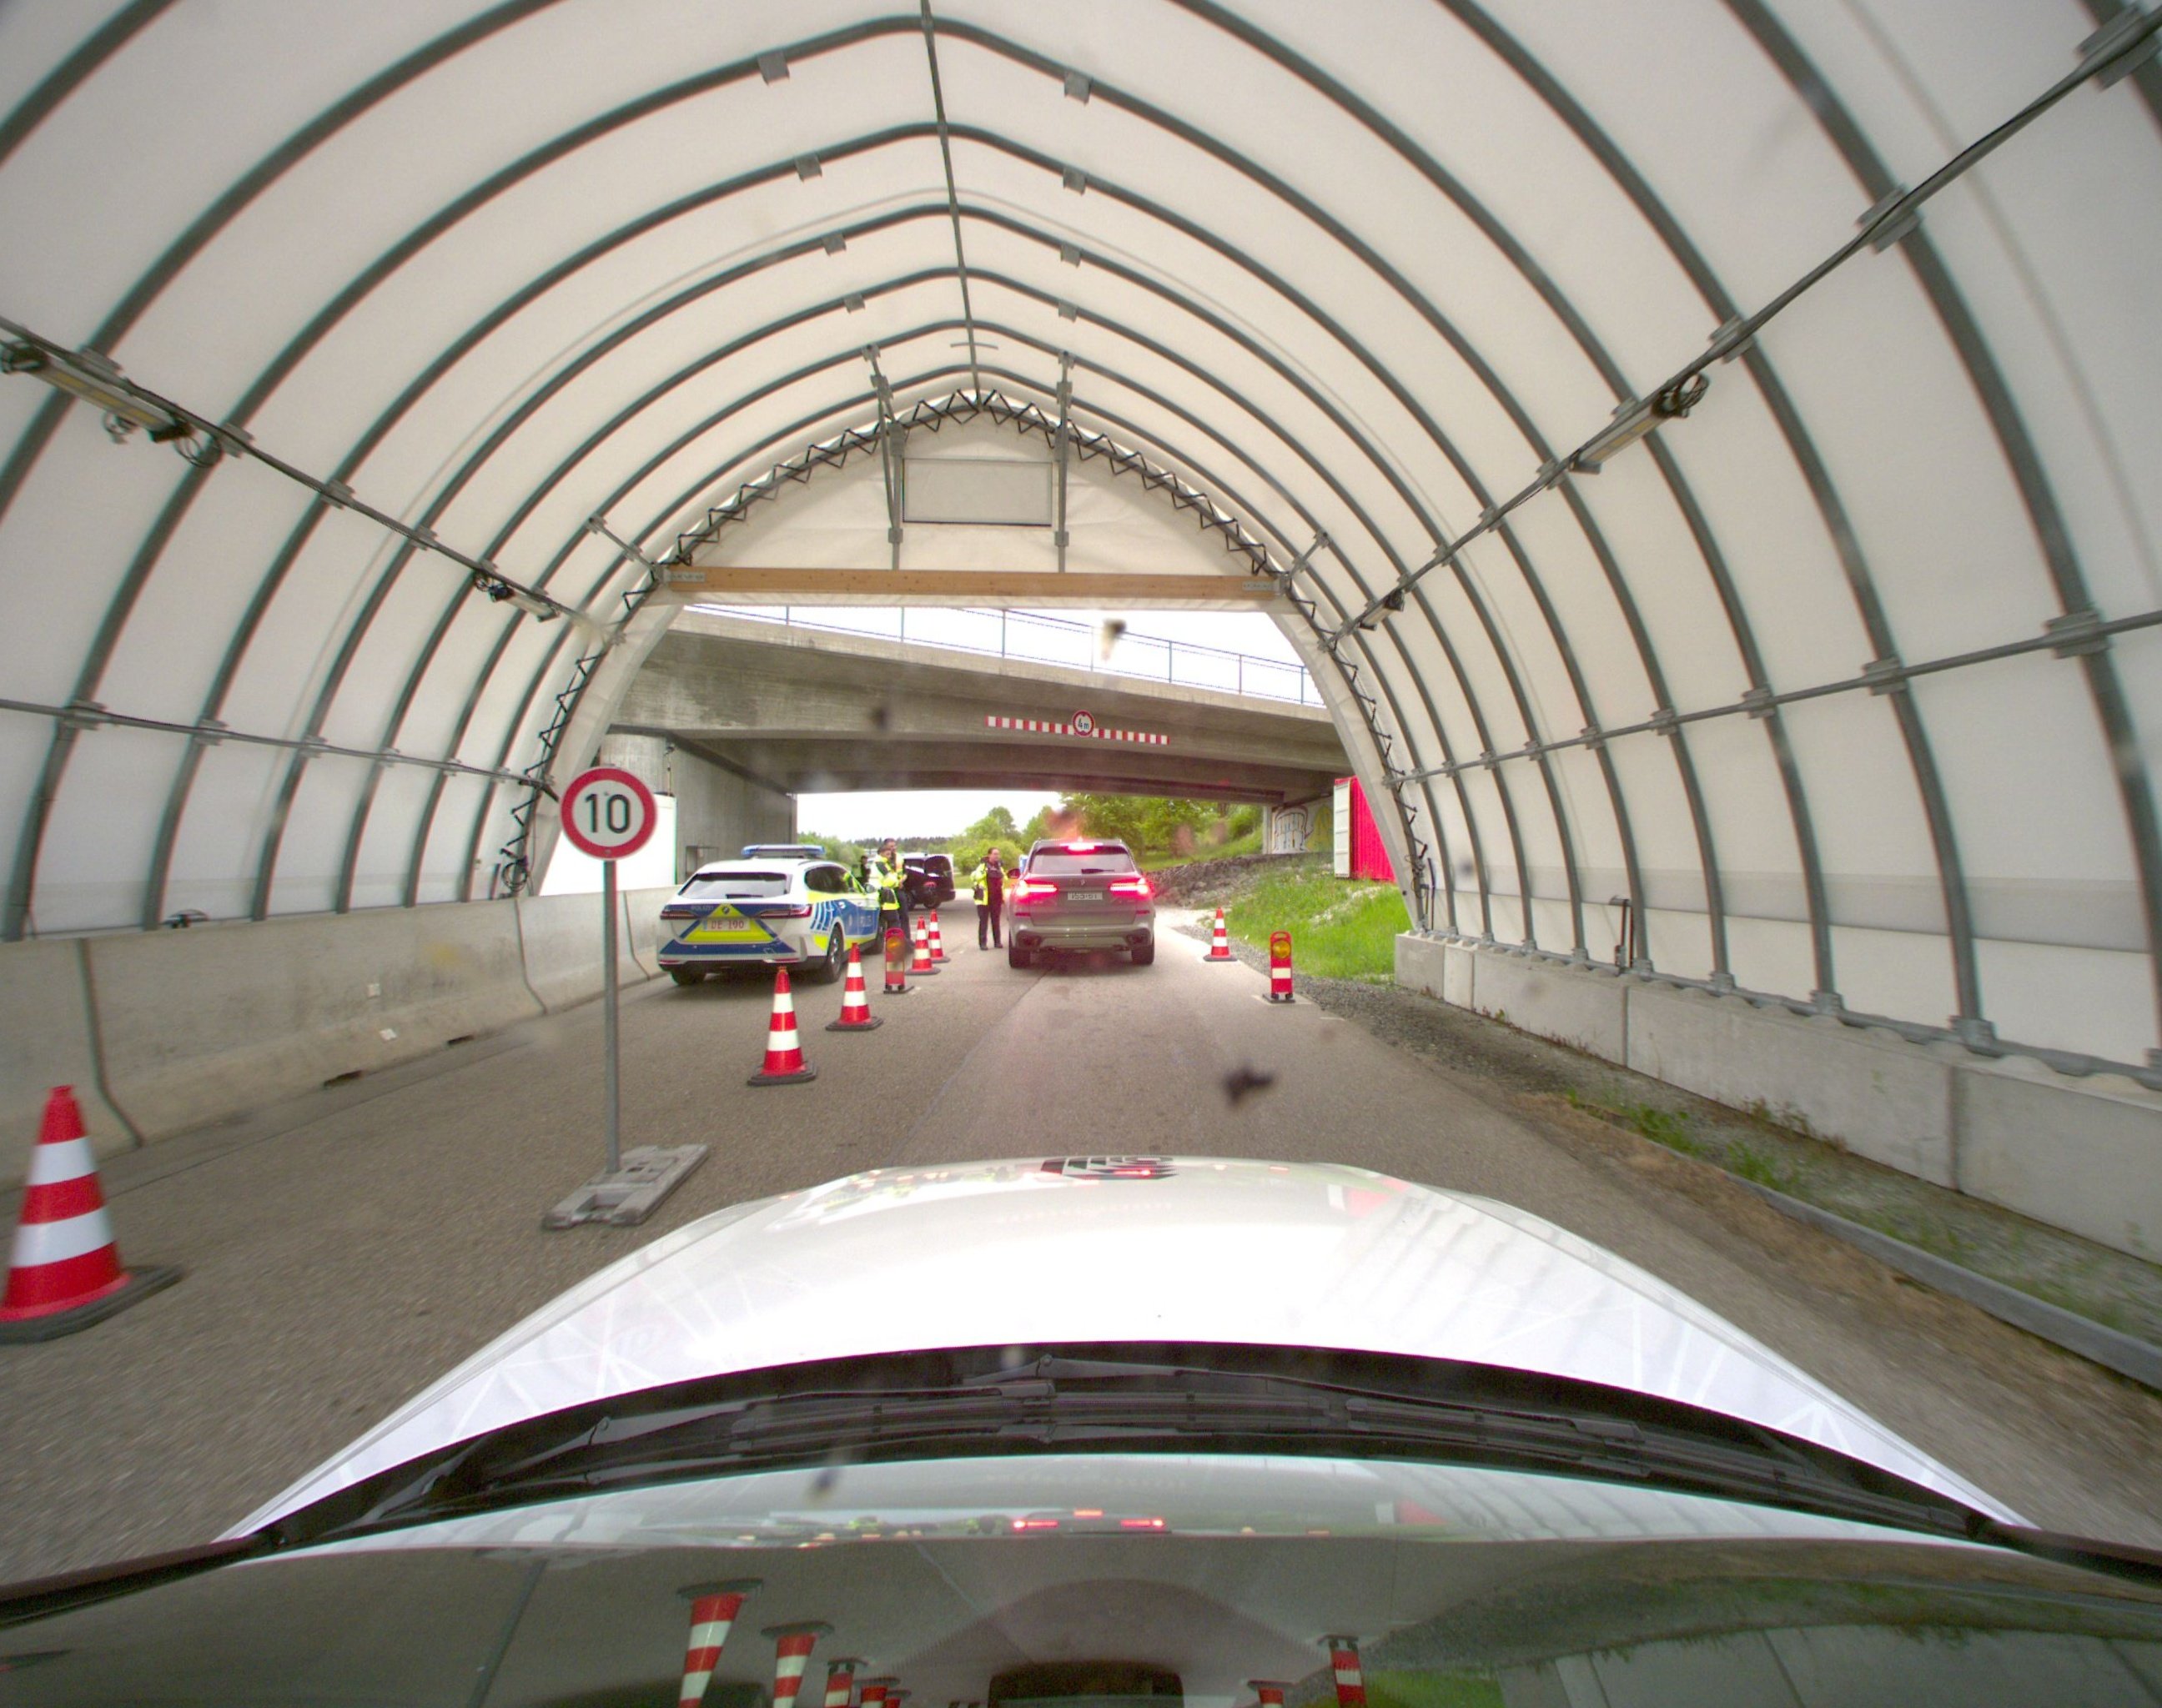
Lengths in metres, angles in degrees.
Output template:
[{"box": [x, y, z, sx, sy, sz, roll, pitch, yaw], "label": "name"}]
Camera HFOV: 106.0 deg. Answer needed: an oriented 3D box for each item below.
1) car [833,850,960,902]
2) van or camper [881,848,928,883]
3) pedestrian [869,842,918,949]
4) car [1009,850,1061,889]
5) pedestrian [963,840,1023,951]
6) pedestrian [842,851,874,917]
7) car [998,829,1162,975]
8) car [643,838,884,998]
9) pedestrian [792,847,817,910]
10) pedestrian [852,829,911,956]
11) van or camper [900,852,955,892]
[{"box": [-7.639, 0.920, 33.788, 4.769, 2.014, 1.849, -2, 0, 16], "label": "car"}, {"box": [-13.531, 0.863, 62.180, 2.115, 2.519, 5.501, -1, 0, -27], "label": "van or camper"}, {"box": [-3.179, 0.696, 13.850, 0.606, 1.754, 0.667, -2, 0, 3], "label": "pedestrian"}, {"box": [-2.984, 1.000, 52.263, 2.003, 2.346, 3.967, -1, 0, -24], "label": "car"}, {"box": [-1.443, 0.650, 13.289, 0.782, 1.722, 0.752, -2, -1, -20], "label": "pedestrian"}, {"box": [-6.942, 0.915, 25.394, 0.686, 2.014, 0.704, -2, -1, 6], "label": "pedestrian"}, {"box": [-0.008, 0.605, 12.185, 1.987, 1.765, 3.999, -2, 0, 0], "label": "car"}, {"box": [-3.890, 0.692, 10.754, 1.875, 1.646, 3.992, -2, 0, -5], "label": "car"}, {"box": [-9.072, 0.799, 26.743, 0.624, 2.013, 0.654, -2, 0, -7], "label": "pedestrian"}, {"box": [-3.138, 0.595, 12.887, 0.748, 1.919, 0.761, -2, 0, -6], "label": "pedestrian"}, {"box": [-10.781, 1.217, 56.682, 2.241, 2.552, 6.556, -2, 0, -25], "label": "van or camper"}]
